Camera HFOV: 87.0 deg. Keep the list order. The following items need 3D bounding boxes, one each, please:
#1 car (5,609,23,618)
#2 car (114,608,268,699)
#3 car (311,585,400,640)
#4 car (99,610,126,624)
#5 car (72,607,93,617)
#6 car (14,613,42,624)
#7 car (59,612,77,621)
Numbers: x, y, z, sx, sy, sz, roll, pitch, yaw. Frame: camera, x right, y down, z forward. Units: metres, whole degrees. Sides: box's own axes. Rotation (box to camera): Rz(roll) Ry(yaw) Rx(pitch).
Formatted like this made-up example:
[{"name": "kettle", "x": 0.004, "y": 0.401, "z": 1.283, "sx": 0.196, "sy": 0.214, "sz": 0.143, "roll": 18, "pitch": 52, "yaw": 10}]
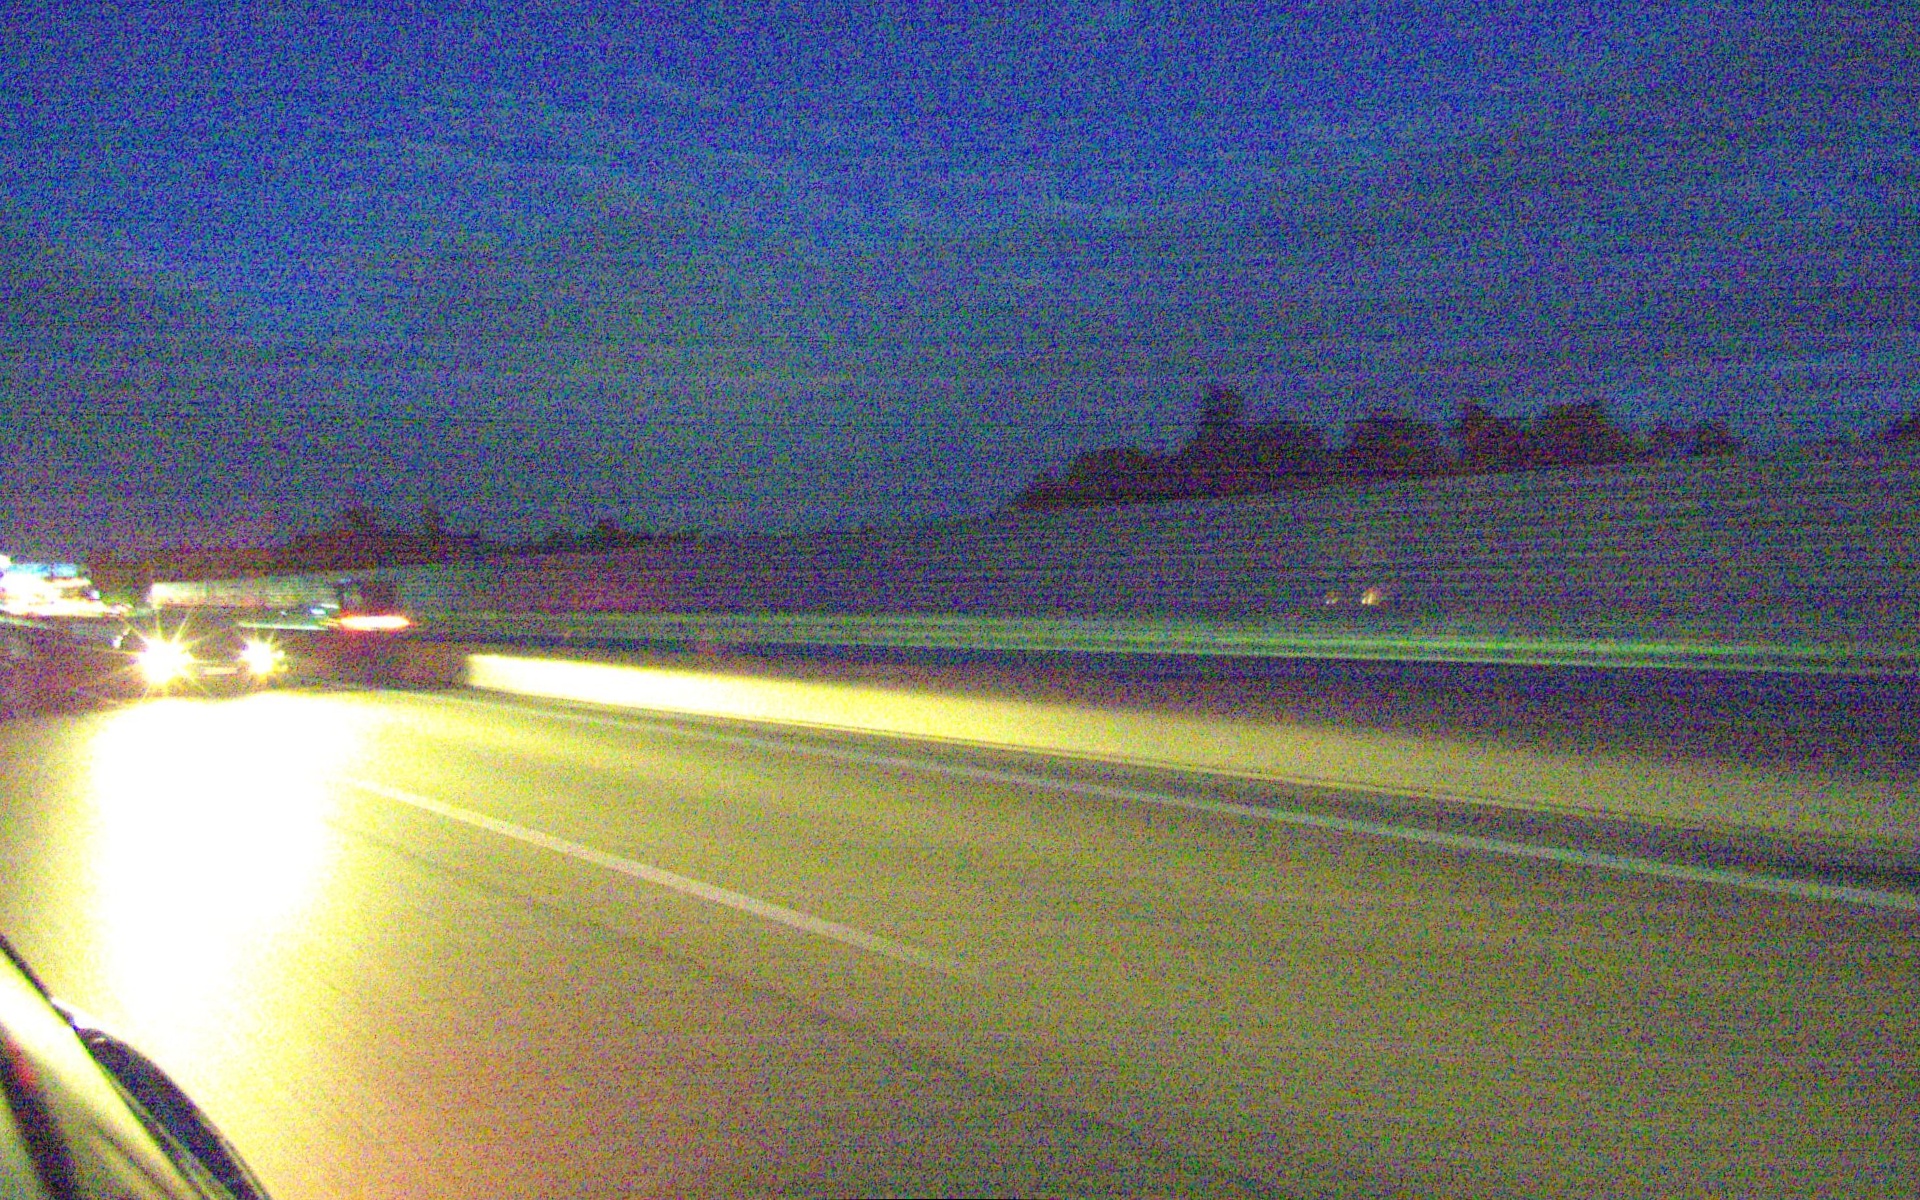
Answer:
[{"name": "car", "x": -171.067, "y": 2.488, "z": 182.993, "sx": 5.110, "sy": 1.567, "sz": 2.095, "roll": 0, "pitch": 0, "yaw": 44}, {"name": "car", "x": -15.476, "y": 1.030, "z": 20.223, "sx": 1.969, "sy": 1.530, "sz": 5.657, "roll": -1, "pitch": -1, "yaw": -42}, {"name": "car", "x": -36.326, "y": 0.772, "z": 60.684, "sx": 8.218, "sy": 3.109, "sz": 2.622, "roll": -2, "pitch": -1, "yaw": 45}, {"name": "car", "x": -110.747, "y": 2.172, "z": 132.183, "sx": 5.942, "sy": 1.795, "sz": 2.031, "roll": 0, "pitch": 0, "yaw": 44}, {"name": "car", "x": -147.219, "y": 1.966, "z": 169.795, "sx": 5.110, "sy": 1.567, "sz": 2.095, "roll": 0, "pitch": 0, "yaw": 44}, {"name": "car", "x": -131.782, "y": 2.604, "z": 143.058, "sx": 5.110, "sy": 1.567, "sz": 2.531, "roll": 0, "pitch": 0, "yaw": 44}, {"name": "car", "x": -171.770, "y": 3.153, "z": 194.828, "sx": 5.244, "sy": 1.492, "sz": 2.159, "roll": 0, "pitch": 1, "yaw": 44}]
